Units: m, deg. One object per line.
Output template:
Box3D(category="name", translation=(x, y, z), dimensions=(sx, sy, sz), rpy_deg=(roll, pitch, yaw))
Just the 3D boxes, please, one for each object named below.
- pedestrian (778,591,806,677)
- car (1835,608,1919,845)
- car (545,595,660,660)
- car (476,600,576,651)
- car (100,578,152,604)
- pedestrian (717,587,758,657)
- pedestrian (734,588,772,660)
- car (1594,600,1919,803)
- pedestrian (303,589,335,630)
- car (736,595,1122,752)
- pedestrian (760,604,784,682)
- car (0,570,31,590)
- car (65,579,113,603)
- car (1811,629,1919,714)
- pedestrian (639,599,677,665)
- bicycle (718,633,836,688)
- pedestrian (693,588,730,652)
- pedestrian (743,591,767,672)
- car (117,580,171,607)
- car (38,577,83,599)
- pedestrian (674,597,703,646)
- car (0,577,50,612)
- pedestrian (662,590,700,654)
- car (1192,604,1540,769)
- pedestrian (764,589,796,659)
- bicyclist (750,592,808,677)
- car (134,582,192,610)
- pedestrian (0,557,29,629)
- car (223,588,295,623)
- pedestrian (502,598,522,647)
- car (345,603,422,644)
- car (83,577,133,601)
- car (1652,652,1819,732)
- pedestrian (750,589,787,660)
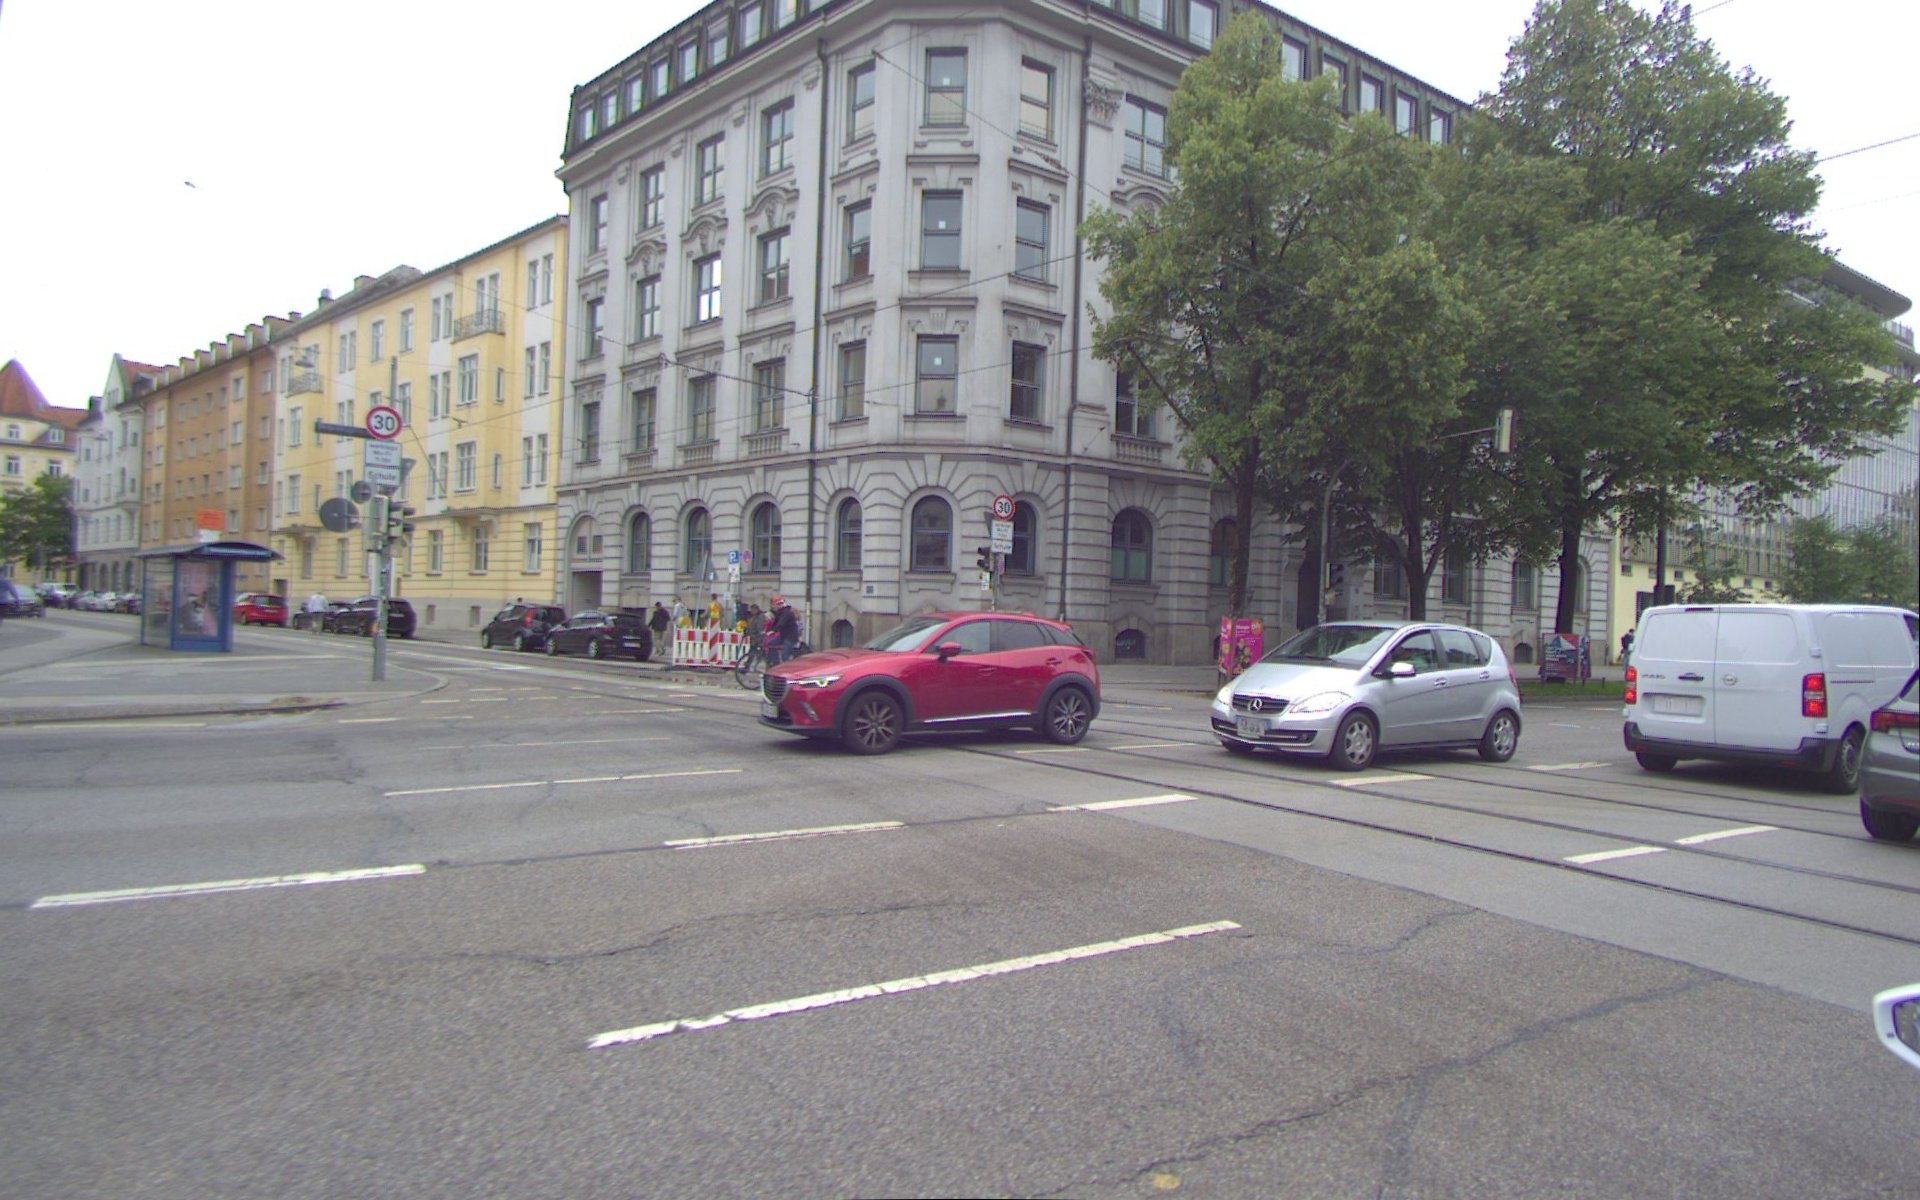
Box3D(category="pedestrian", translation=(-3.759, 0.763, 22.432), dimensions=(0.518, 1.879, 0.502), rpy_deg=(3, -1, -12))
Box3D(category="car", translation=(8.347, 0.956, 7.390), dimensions=(3.955, 1.572, 1.701), rpy_deg=(3, 0, -31))
Box3D(category="car", translation=(-10.577, 0.784, 29.615), dimensions=(3.521, 1.753, 1.685), rpy_deg=(1, -1, 42))
Box3D(category="car", translation=(-14.340, 0.830, 33.134), dimensions=(3.521, 1.538, 1.685), rpy_deg=(1, -1, 42))
Box3D(category="car", translation=(-57.001, -0.620, 68.650), dimensions=(3.664, 1.617, 1.992), rpy_deg=(1, -1, 39))
Box3D(category="pedestrian", translation=(-6.669, 0.652, 30.129), dimensions=(0.768, 2.040, 0.799), rpy_deg=(3, 1, 39))
Box3D(category="pedestrian", translation=(-5.992, 0.693, 29.053), dimensions=(0.768, 2.040, 0.640), rpy_deg=(3, 1, 39))
Box3D(category="car", translation=(9.518, 1.064, 11.418), dimensions=(4.900, 1.872, 1.889), rpy_deg=(3, -1, -31))
Box3D(category="pedestrian", translation=(-25.962, 0.380, 40.680), dimensions=(0.865, 1.597, 0.859), rpy_deg=(1, -1, 41))
Box3D(category="car", translation=(-0.306, 0.829, 11.801), dimensions=(4.178, 1.550, 1.745), rpy_deg=(3, -1, -30))
Box3D(category="pedestrian", translation=(-4.351, 0.994, 23.213), dimensions=(0.462, 1.762, 0.502), rpy_deg=(3, -1, -12))
Box3D(category="car", translation=(-83.106, -1.738, 87.935), dimensions=(3.664, 1.617, 1.992), rpy_deg=(1, -1, 39))
Box3D(category="car", translation=(-64.205, -0.647, 74.016), dimensions=(3.664, 1.617, 1.992), rpy_deg=(1, -1, 39))
Box3D(category="car", translation=(19.645, 1.473, 20.998), dimensions=(3.900, 1.592, 1.626), rpy_deg=(3, -1, -31))
Box3D(category="pedestrian", translation=(-9.669, 1.023, 32.128), dimensions=(0.768, 2.040, 0.799), rpy_deg=(3, 1, 39))
Box3D(category="bicycle", translation=(-3.582, 1.189, 19.732), dimensions=(2.156, 1.001, 0.658), rpy_deg=(3, 0, -30))
Box3D(category="pedestrian", translation=(-8.192, 0.657, 33.105), dimensions=(0.768, 2.040, 0.799), rpy_deg=(3, 1, 39))
Box3D(category="pedestrian", translation=(-4.822, 0.734, 23.677), dimensions=(0.462, 1.879, 0.502), rpy_deg=(3, -1, -12))
Box3D(category="car", translation=(-53.089, -0.420, 65.338), dimensions=(3.664, 1.617, 1.992), rpy_deg=(1, -1, 39))
Box3D(category="car", translation=(-70.399, -0.944, 78.593), dimensions=(3.664, 1.617, 1.992), rpy_deg=(1, -1, 39))
Box3D(category="pedestrian", translation=(-9.228, 0.728, 34.143), dimensions=(0.568, 1.616, 0.645), rpy_deg=(3, 1, 39))
Box3D(category="car", translation=(-46.463, -0.270, 49.369), dimensions=(3.664, 1.617, 1.992), rpy_deg=(1, -1, 39))
Box3D(category="pedestrian", translation=(-9.112, 0.723, 32.805), dimensions=(0.768, 2.040, 0.799), rpy_deg=(3, 1, 39))
Box3D(category="car", translation=(4.685, 0.926, 11.462), dimensions=(3.900, 1.592, 1.626), rpy_deg=(3, -1, -31))
Box3D(category="pedestrian", translation=(-5.430, 0.721, 30.347), dimensions=(0.570, 2.040, 0.664), rpy_deg=(3, 1, 39))
Box3D(category="bicyclist", translation=(-3.553, 0.672, 19.730), dimensions=(0.881, 1.599, 0.657), rpy_deg=(3, 1, -30))
Box3D(category="car", translation=(-49.399, -0.228, 62.264), dimensions=(3.664, 1.617, 1.992), rpy_deg=(1, -1, 39))
Box3D(category="pedestrian", translation=(-25.519, -0.205, 26.886), dimensions=(0.652, 1.877, 0.802), rpy_deg=(3, 1, -29))
Box3D(category="car", translation=(-35.642, 0.269, 51.047), dimensions=(3.664, 1.617, 1.992), rpy_deg=(1, -1, 39))
Box3D(category="pedestrian", translation=(-17.530, 0.885, 39.266), dimensions=(0.463, 1.879, 0.500), rpy_deg=(2, -1, 43))
Box3D(category="car", translation=(-23.759, 0.955, 41.344), dimensions=(3.521, 1.597, 1.685), rpy_deg=(1, -1, 42))
Box3D(category="car", translation=(-60.466, -0.800, 71.257), dimensions=(3.664, 1.617, 1.992), rpy_deg=(1, -1, 39))
Box3D(category="car", translation=(17.494, 2.023, 22.632), dimensions=(3.956, 1.617, 1.734), rpy_deg=(2, -3, -32))
Box3D(category="pedestrian", translation=(-5.665, 0.708, 29.710), dimensions=(0.768, 2.040, 0.664), rpy_deg=(3, 1, 39))
